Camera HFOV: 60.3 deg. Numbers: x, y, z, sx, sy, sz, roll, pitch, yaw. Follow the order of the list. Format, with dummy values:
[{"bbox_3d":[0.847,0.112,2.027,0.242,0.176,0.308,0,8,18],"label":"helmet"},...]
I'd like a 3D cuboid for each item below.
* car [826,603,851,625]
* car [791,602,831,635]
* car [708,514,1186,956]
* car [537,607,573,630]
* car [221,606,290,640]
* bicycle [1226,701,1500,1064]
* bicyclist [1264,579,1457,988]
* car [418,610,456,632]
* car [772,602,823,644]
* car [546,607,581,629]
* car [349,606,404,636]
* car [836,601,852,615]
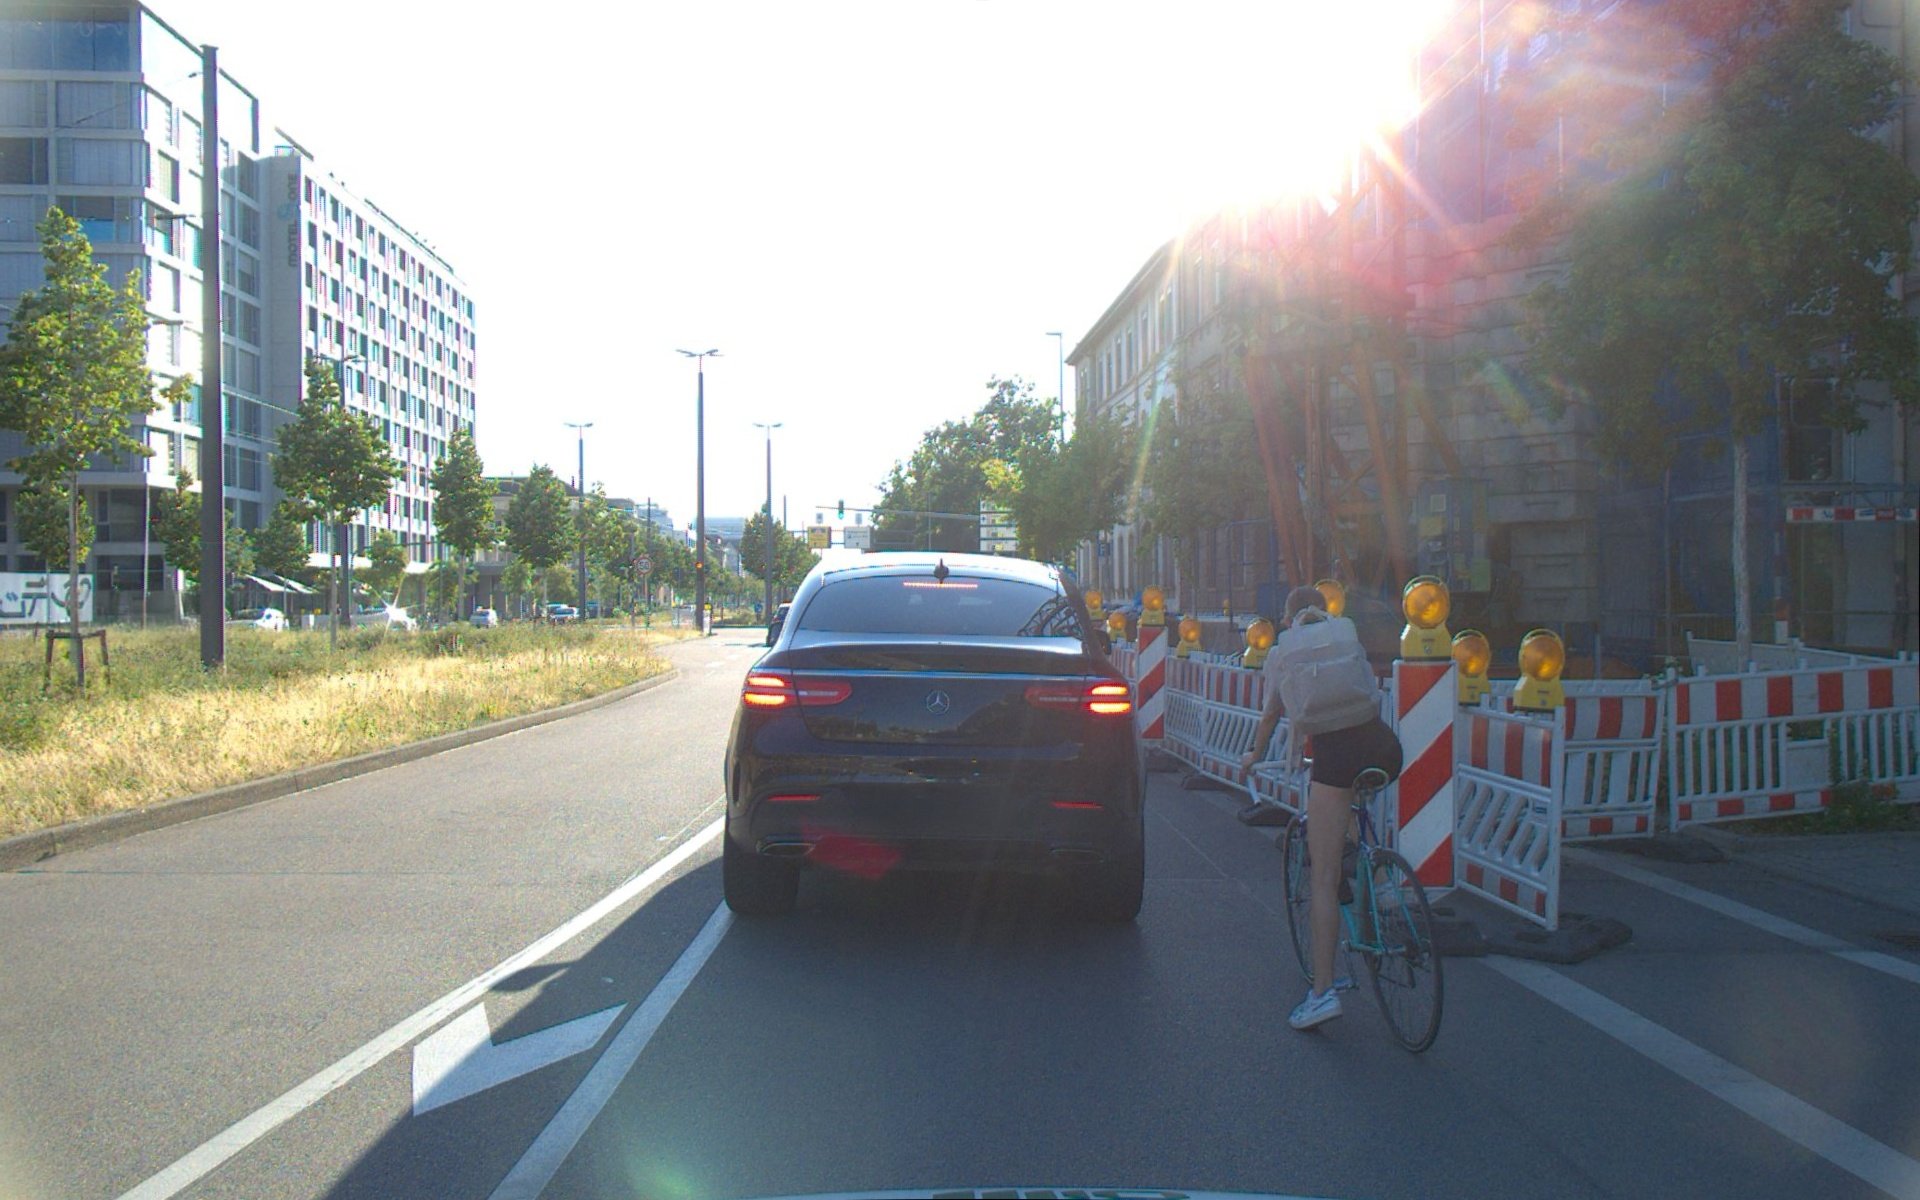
[{"bbox_3d":[-8.491,0.989,115.894,1.674,1.467,3.580,1,0,-3],"label":"car"},{"bbox_3d":[-6.887,0.857,76.676,1.674,1.467,3.580,1,0,-3],"label":"car"},{"bbox_3d":[-0.079,0.569,8.848,1.953,1.803,3.999,1,0,-1],"label":"car"},{"bbox_3d":[-31.093,1.392,127.025,1.753,1.713,3.639,1,0,2],"label":"car"},{"bbox_3d":[-31.442,0.999,73.920,1.674,1.467,3.580,1,0,-3],"label":"car"},{"bbox_3d":[1.444,0.969,6.214,0.502,1.070,1.724,1,0,-3],"label":"bicycle"},{"bbox_3d":[1.452,0.642,6.068,0.512,1.420,0.614,1,-1,-4],"label":"bicyclist"},{"bbox_3d":[-36.973,1.469,117.014,1.674,1.467,3.580,1,0,-3],"label":"car"},{"bbox_3d":[-5.891,0.808,60.327,1.674,1.467,3.580,1,0,-3],"label":"car"},{"bbox_3d":[-27.405,1.233,114.368,1.674,1.467,3.580,1,0,-3],"label":"car"},{"bbox_3d":[-29.983,1.069,85.051,1.674,1.467,3.580,1,0,-3],"label":"car"},{"bbox_3d":[-12.874,0.899,183.747,1.674,1.467,3.580,1,0,-3],"label":"car"}]
